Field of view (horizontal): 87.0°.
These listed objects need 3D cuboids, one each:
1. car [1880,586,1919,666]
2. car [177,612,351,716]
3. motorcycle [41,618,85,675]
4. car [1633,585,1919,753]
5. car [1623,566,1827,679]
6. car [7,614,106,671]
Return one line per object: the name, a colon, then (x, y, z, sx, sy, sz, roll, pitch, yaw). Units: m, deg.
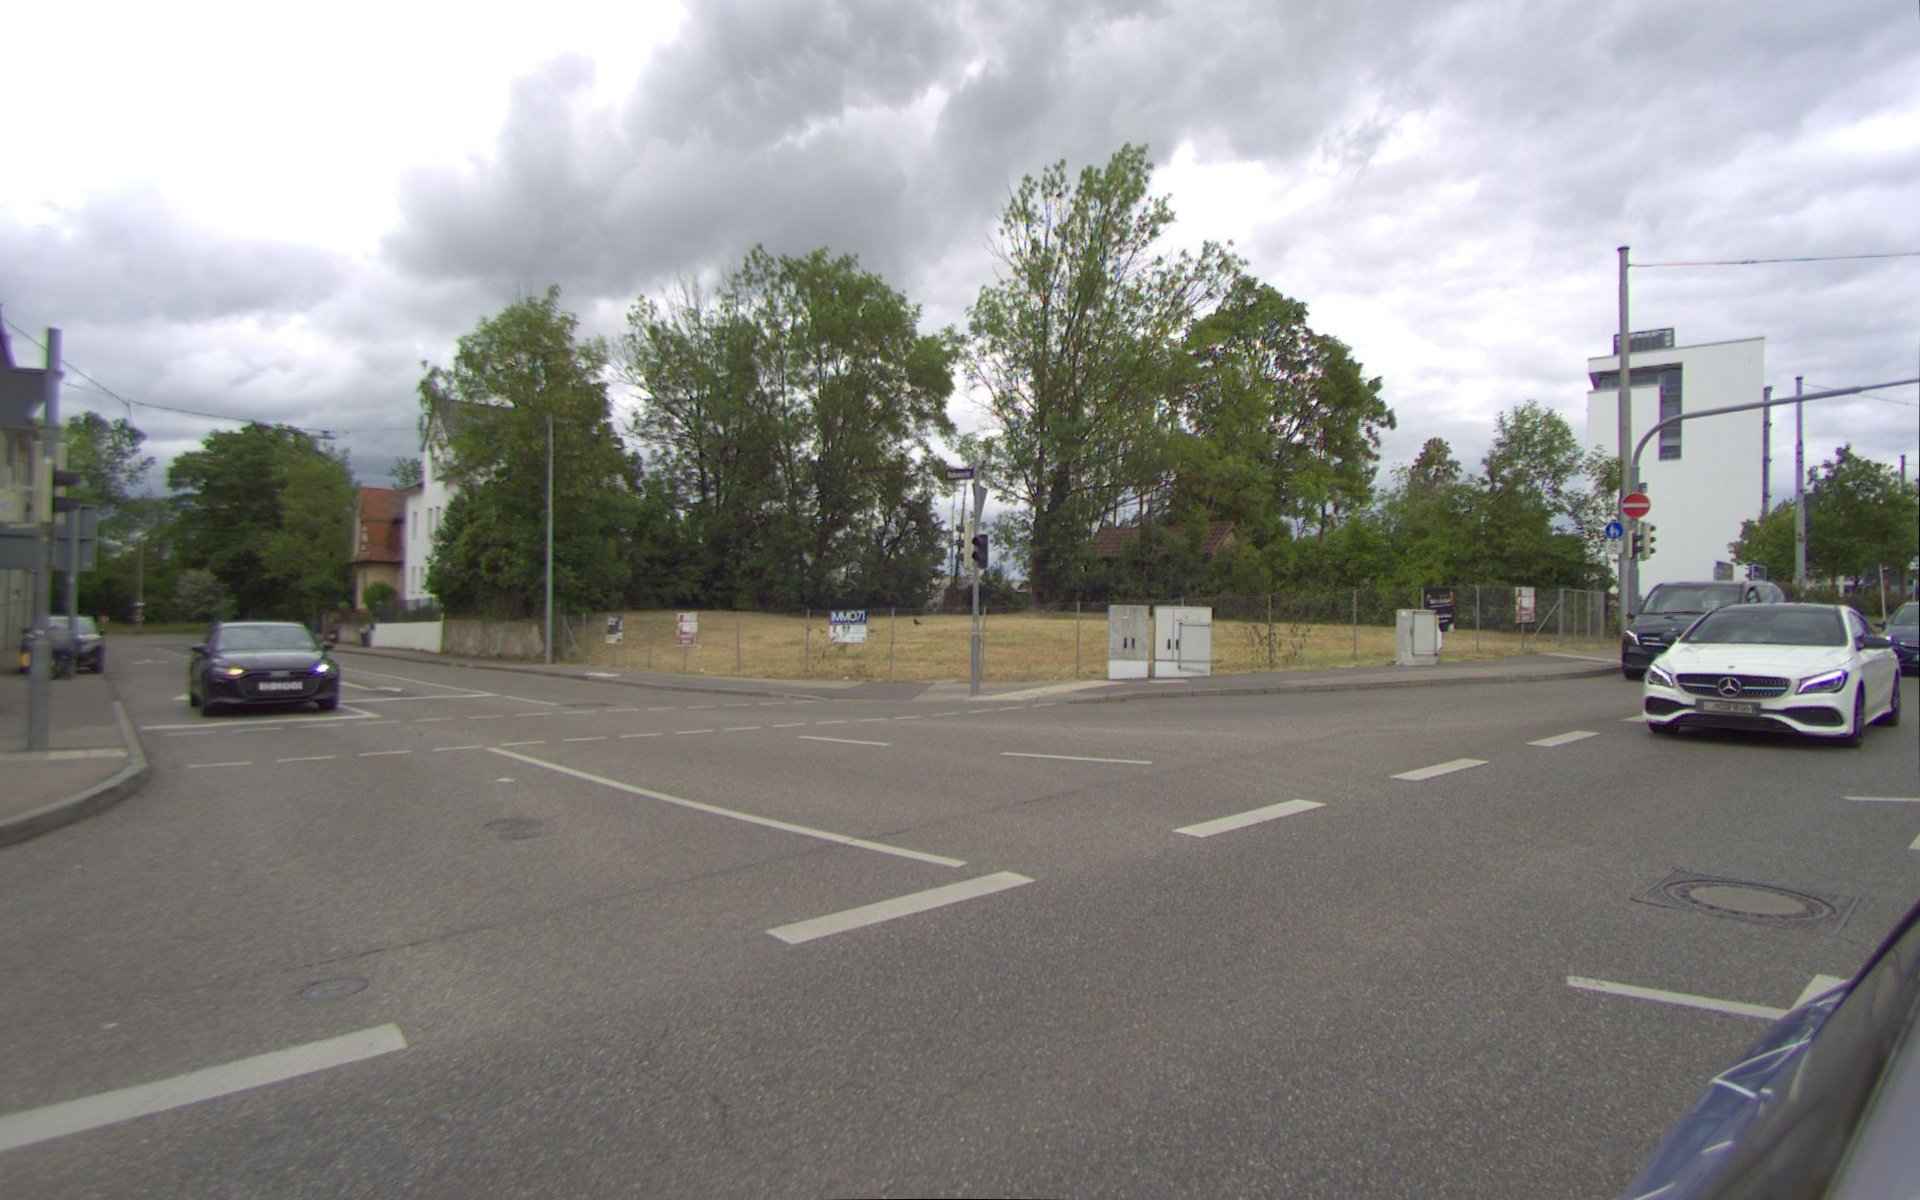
car: (19.889, 0.464, 20.147, 4.234, 1.491, 1.797, -1, 0, -40)
car: (-11.562, 0.946, 16.689, 1.875, 1.440, 4.348, -1, 0, -41)
motorcycle: (-22.258, 1.139, 25.135, 0.673, 1.333, 2.309, 3, -2, -39)
car: (9.404, 0.600, 11.440, 4.617, 1.491, 1.797, -1, 2, -40)
car: (14.768, 0.325, 19.445, 4.787, 1.911, 2.015, -1, 1, -39)
car: (-25.684, 1.155, 28.862, 1.965, 1.483, 4.084, 1, -1, -41)
